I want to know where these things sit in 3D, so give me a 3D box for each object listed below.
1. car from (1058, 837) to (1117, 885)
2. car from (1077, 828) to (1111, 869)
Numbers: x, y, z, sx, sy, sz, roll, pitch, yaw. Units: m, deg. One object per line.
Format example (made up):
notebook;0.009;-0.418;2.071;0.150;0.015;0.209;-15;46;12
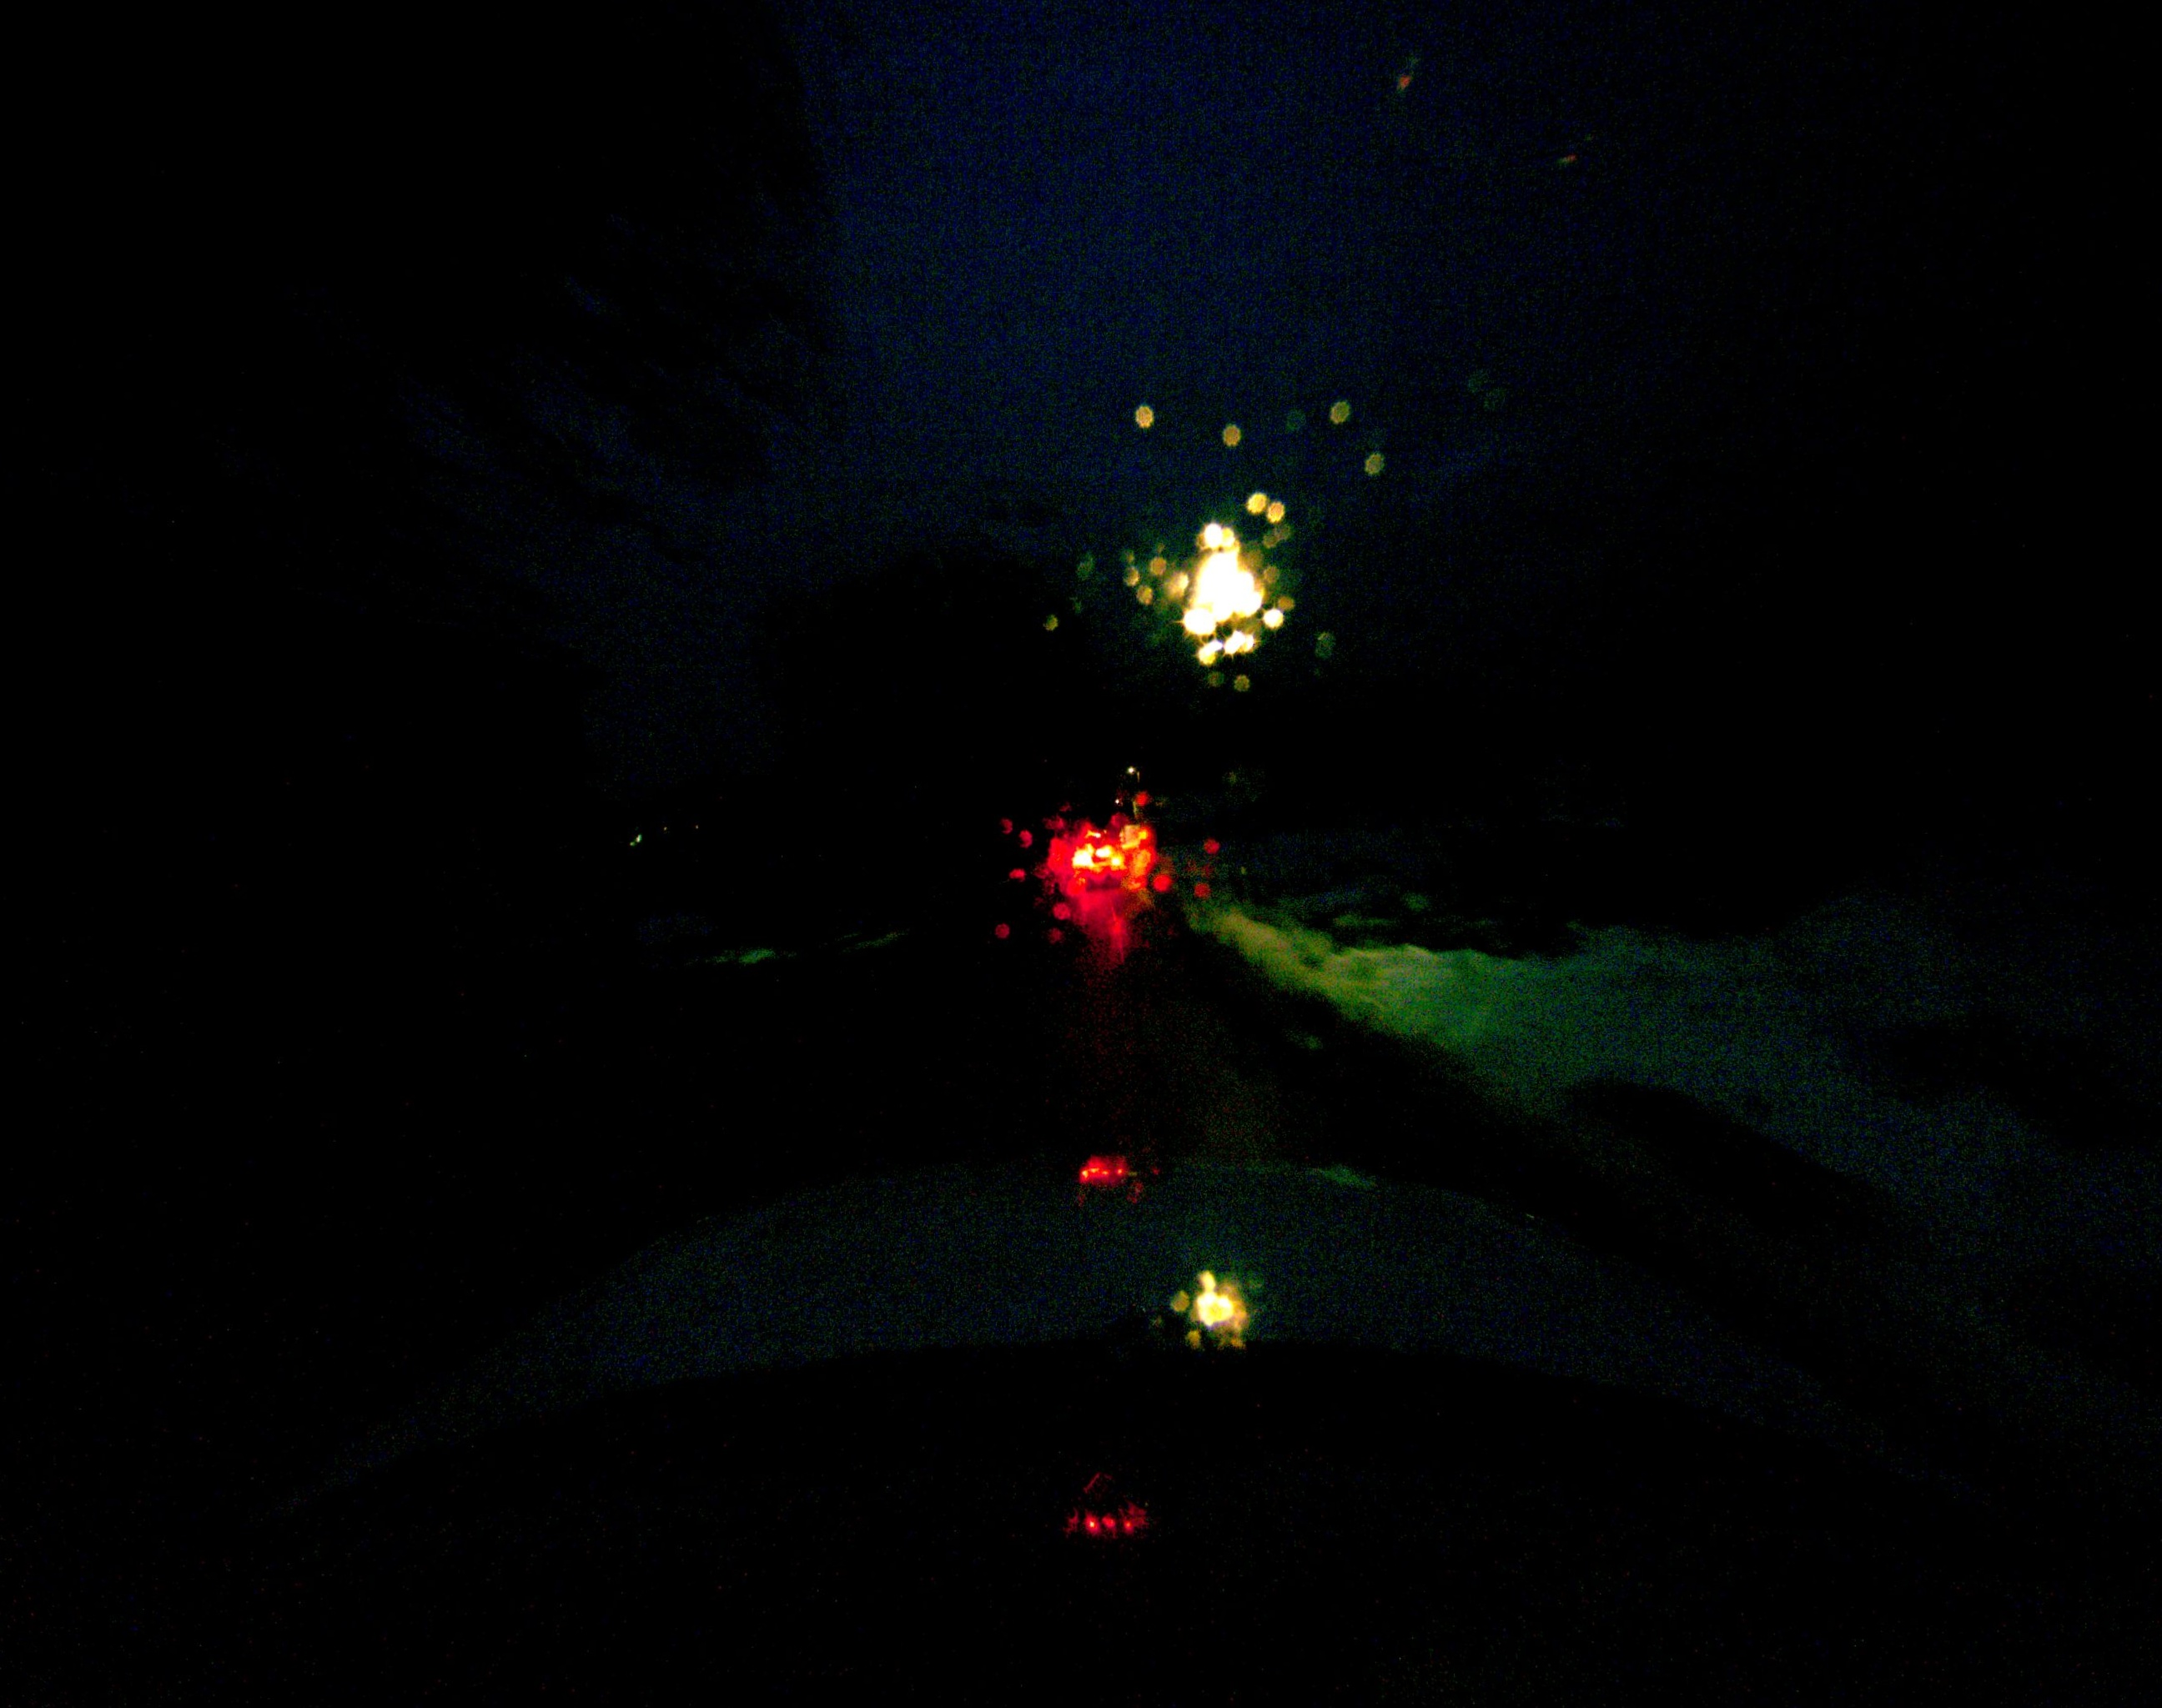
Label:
car;0.303;0.270;35.666;2.266;1.840;5.007;-4;0;1
car;1.163;-0.385;67.361;2.426;3.018;5.328;-5;-1;2
